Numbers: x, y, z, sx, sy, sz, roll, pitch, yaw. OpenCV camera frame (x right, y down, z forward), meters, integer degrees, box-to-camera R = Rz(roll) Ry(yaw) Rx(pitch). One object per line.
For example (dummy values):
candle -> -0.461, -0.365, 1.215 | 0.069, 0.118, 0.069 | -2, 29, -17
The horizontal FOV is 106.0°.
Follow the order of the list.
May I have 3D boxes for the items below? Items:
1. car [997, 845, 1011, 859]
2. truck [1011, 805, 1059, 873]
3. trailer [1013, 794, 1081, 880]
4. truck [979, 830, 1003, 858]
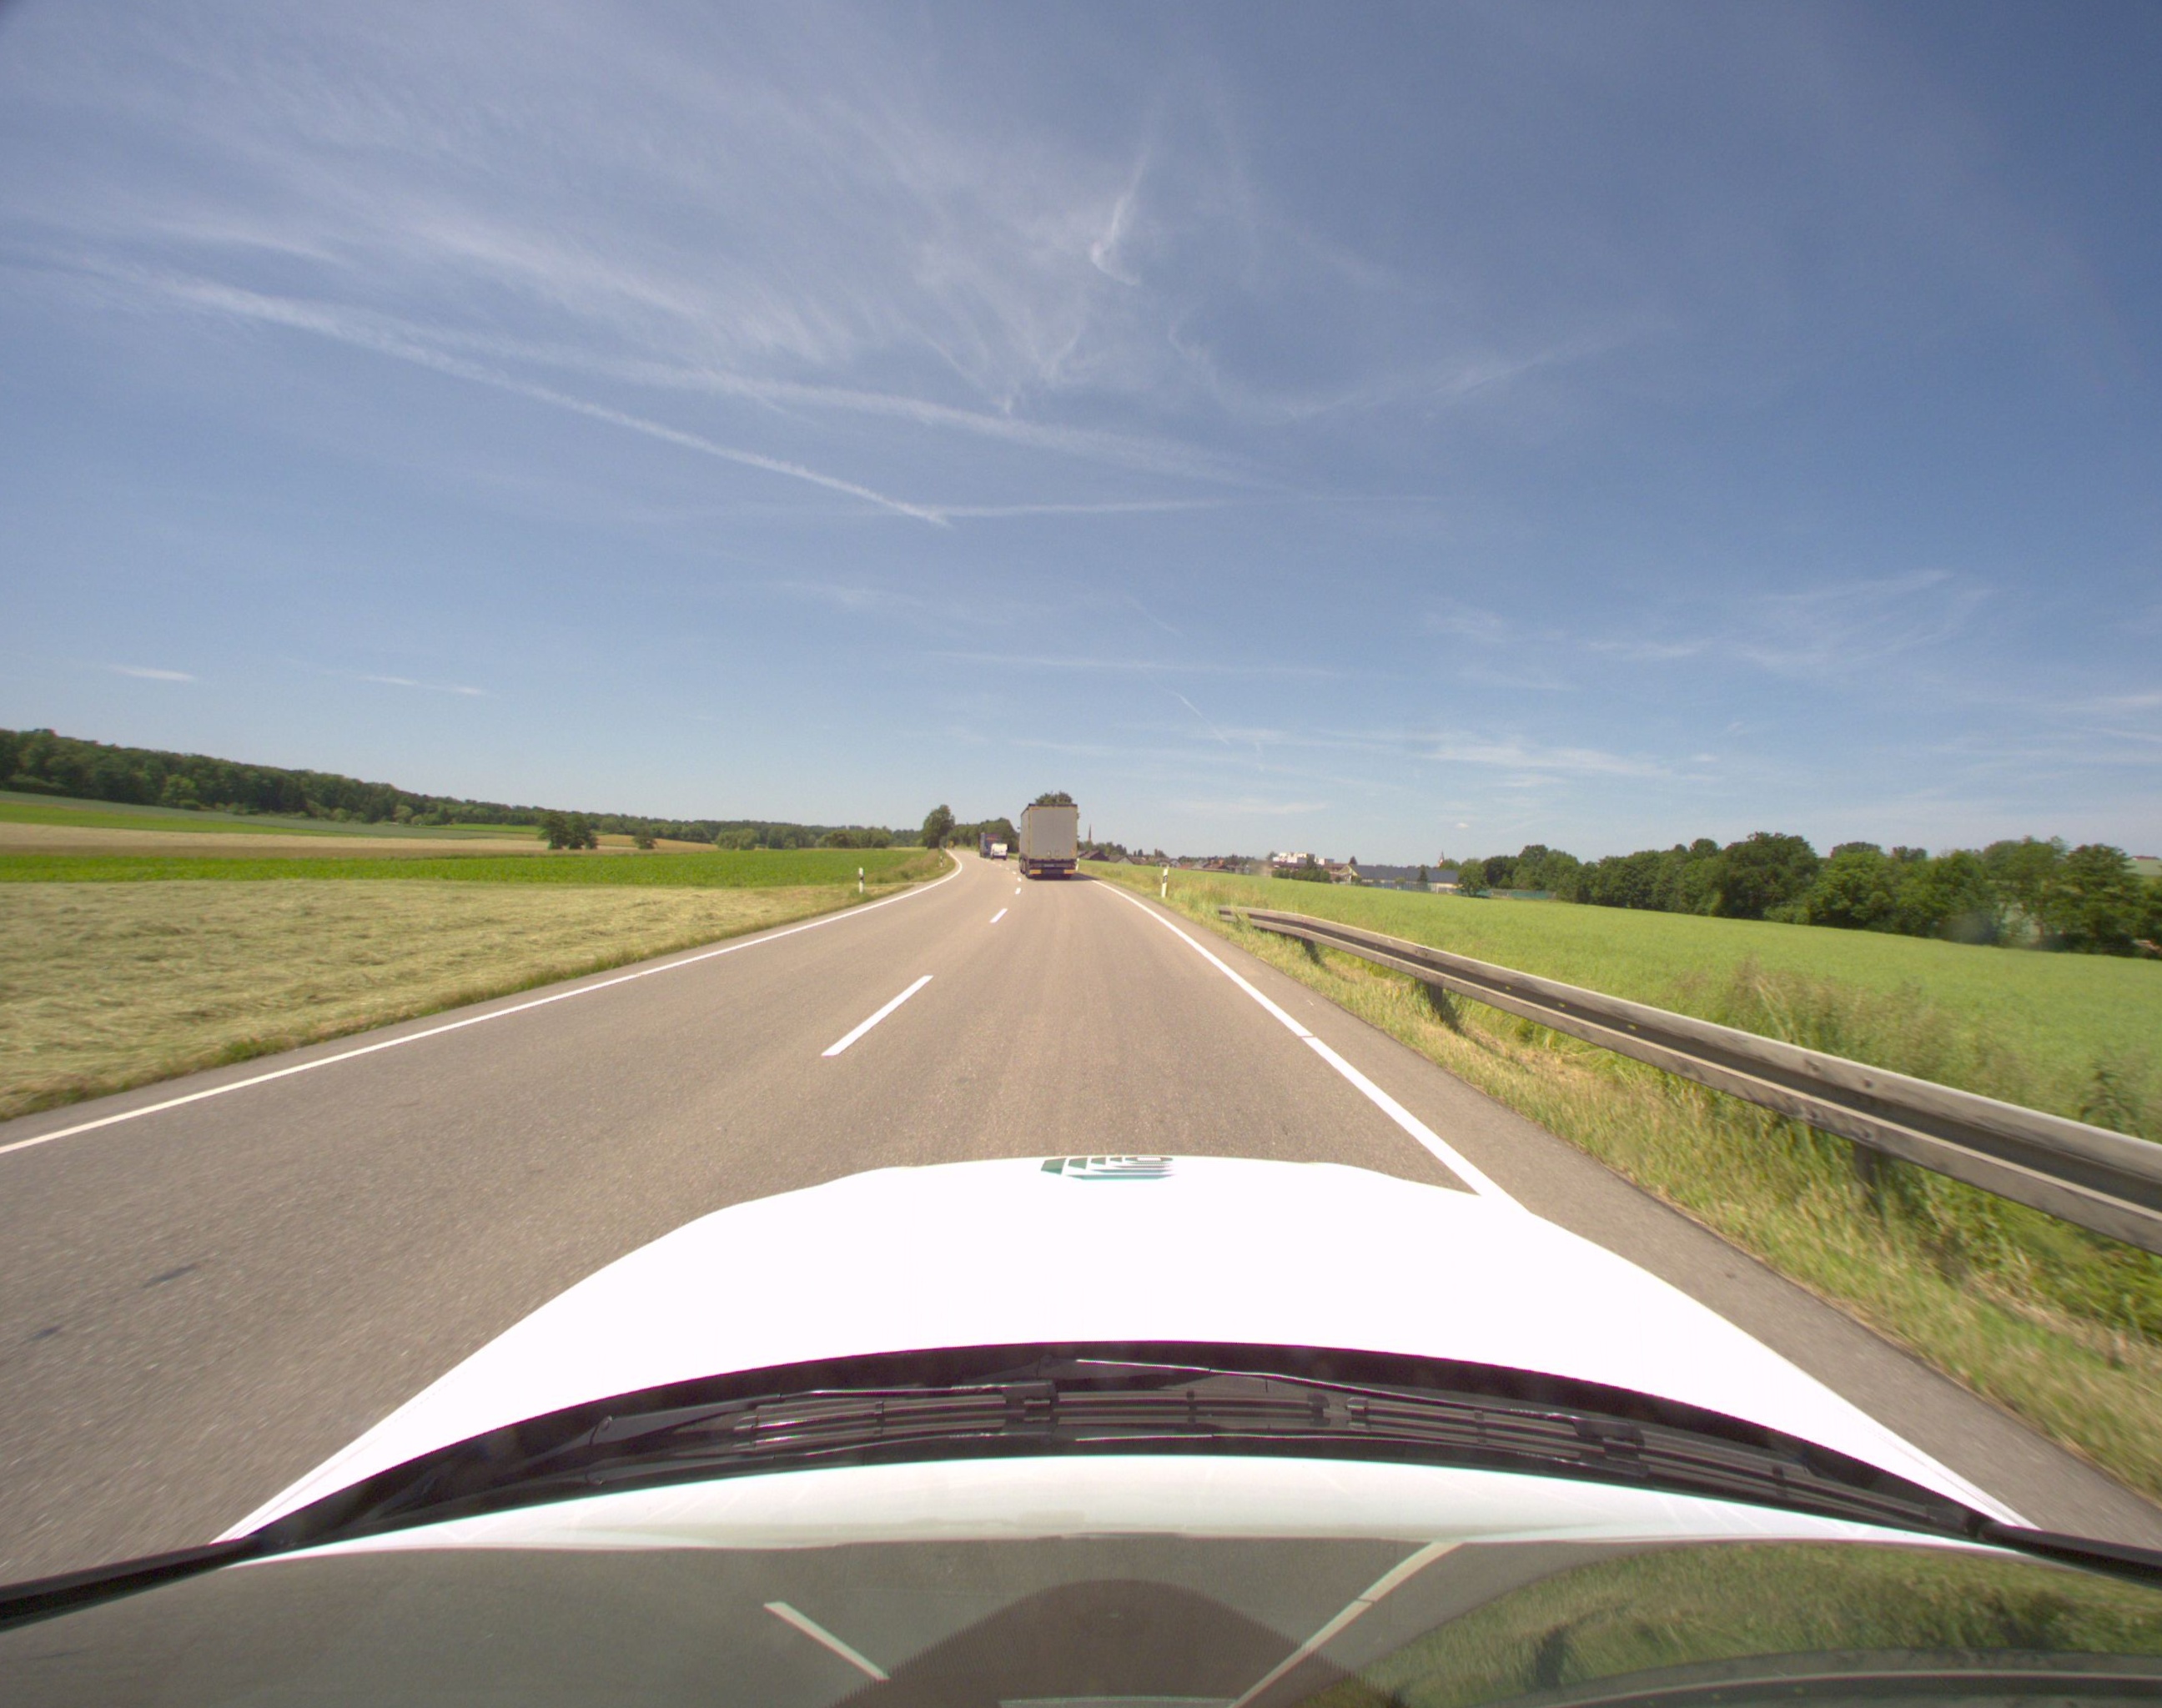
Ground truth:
car -> -10.772, -0.324, 113.554 | 1.721, 1.872, 3.996 | 1, 0, -2
truck -> -3.190, -1.002, 55.424 | 2.857, 4.400, 5.057 | 0, 0, -8
trailer -> -2.296, -0.932, 48.453 | 2.865, 4.400, 13.457 | 0, 1, -8
truck -> -15.100, -1.645, 137.771 | 3.544, 4.392, 18.086 | 1, 0, -5
